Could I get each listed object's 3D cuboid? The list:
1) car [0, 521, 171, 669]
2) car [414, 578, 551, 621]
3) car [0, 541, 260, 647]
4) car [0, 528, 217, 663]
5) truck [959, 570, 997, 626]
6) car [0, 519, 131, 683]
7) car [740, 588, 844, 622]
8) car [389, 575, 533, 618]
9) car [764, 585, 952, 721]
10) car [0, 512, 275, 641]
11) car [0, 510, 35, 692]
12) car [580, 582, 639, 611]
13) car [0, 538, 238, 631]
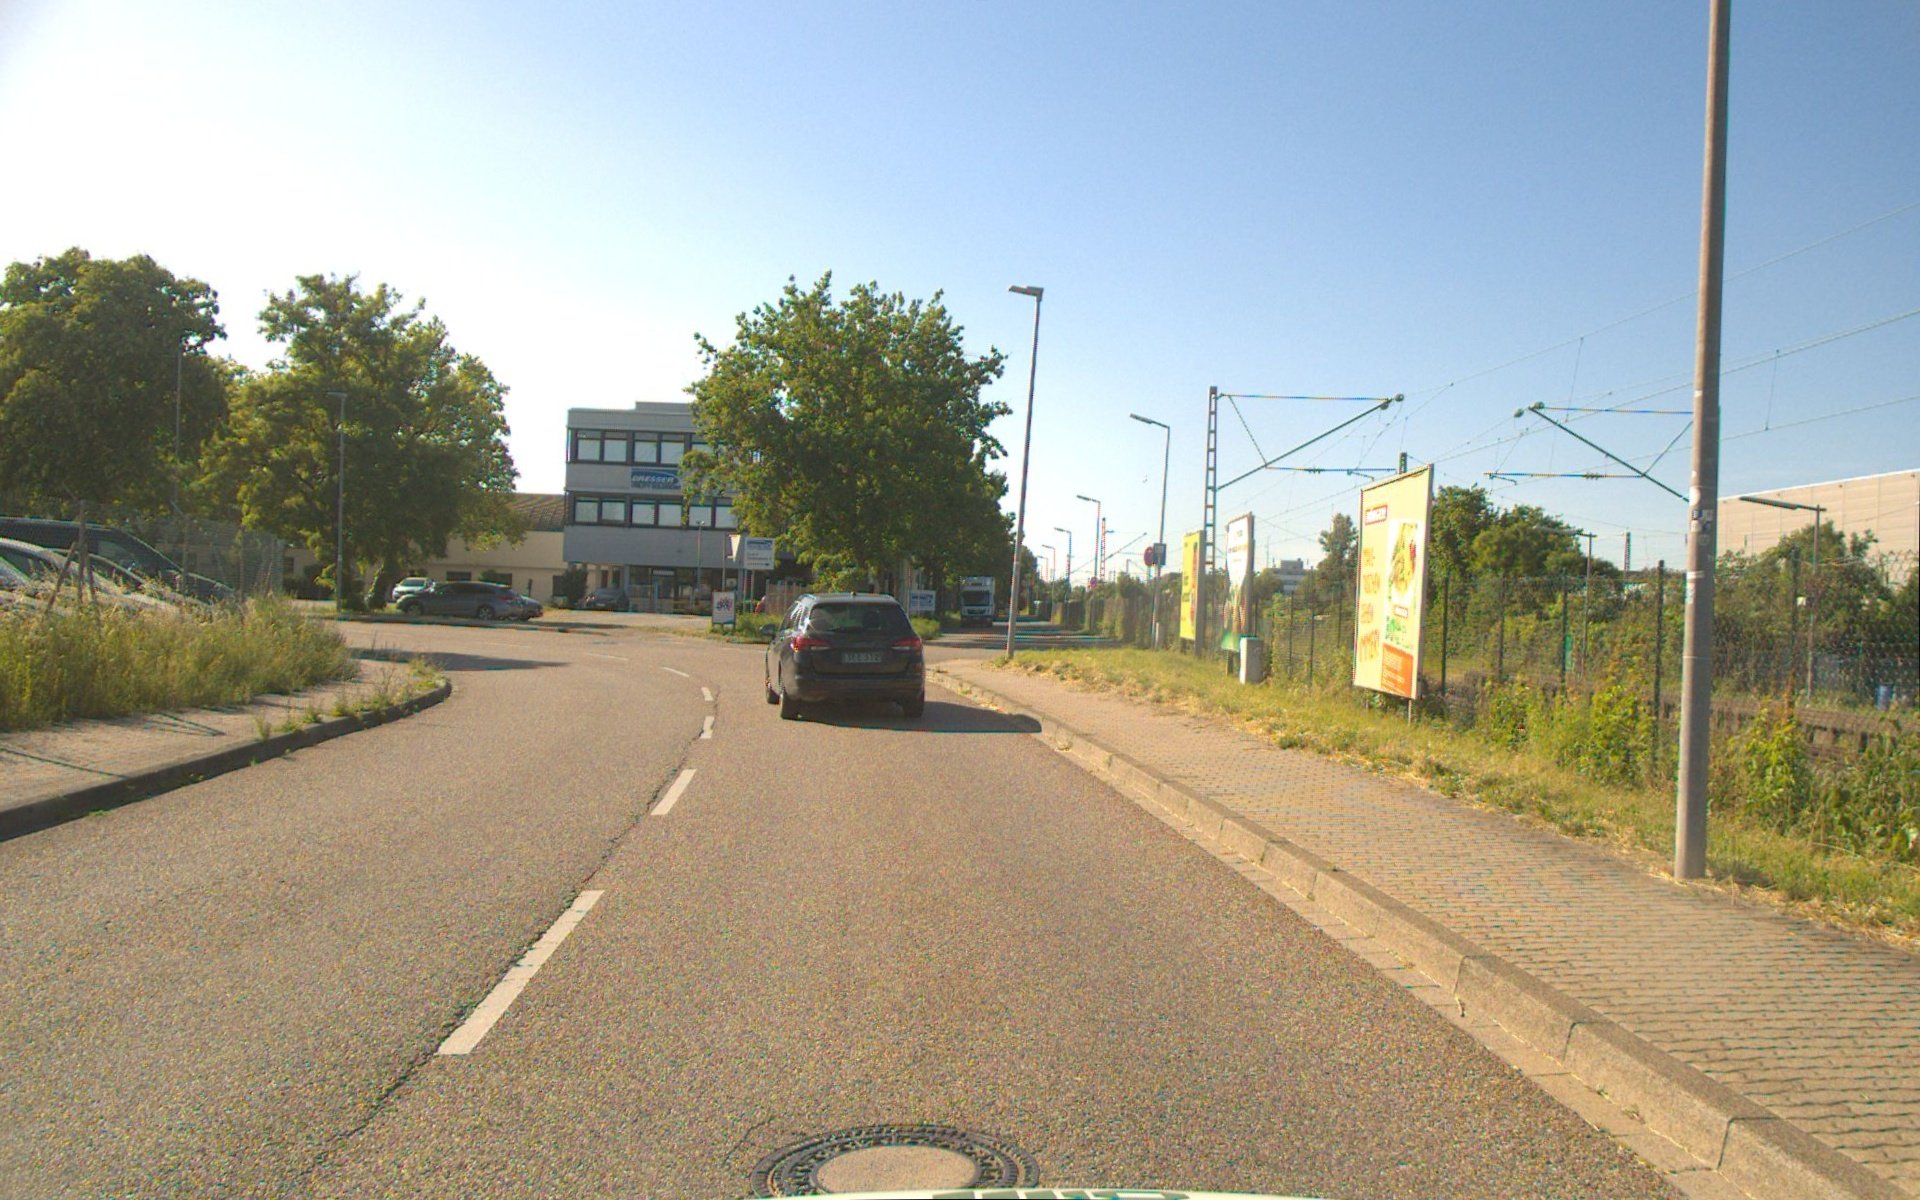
[{"bbox_3d":[-11.759,-0.094,19.430,4.344,1.677,1.822,2,0,-31],"label":"car"},{"bbox_3d":[-18.969,-0.021,65.845,4.809,1.510,2.000,2,0,1],"label":"car"},{"bbox_3d":[-13.033,-0.087,24.829,4.353,1.461,1.818,2,0,-35],"label":"car"},{"bbox_3d":[-12.401,-0.082,22.056,4.322,1.677,1.831,2,0,-19],"label":"car"},{"bbox_3d":[1.278,-0.166,127.069,2.560,3.953,13.531,3,0,0],"label":"truck"},{"bbox_3d":[-11.168,-0.039,17.289,4.344,1.677,1.822,2,0,-31],"label":"car"},{"bbox_3d":[-8.408,0.235,82.993,4.806,1.510,2.002,2,1,6],"label":"car"},{"bbox_3d":[-19.044,-0.124,63.243,4.809,1.451,2.000,2,0,1],"label":"car"},{"bbox_3d":[-1.426,0.588,21.182,1.907,1.514,4.555,1,1,-10],"label":"car"},{"bbox_3d":[-13.949,-0.368,27.032,4.794,1.925,1.818,2,0,-35],"label":"car"},{"bbox_3d":[-10.956,-0.059,14.751,4.314,1.677,1.834,2,0,-14],"label":"car"},{"bbox_3d":[-20.043,-0.242,94.796,1.952,1.510,4.930,2,1,4],"label":"car"},{"bbox_3d":[-16.681,-0.270,32.324,1.805,1.677,4.385,2,0,37],"label":"car"}]
